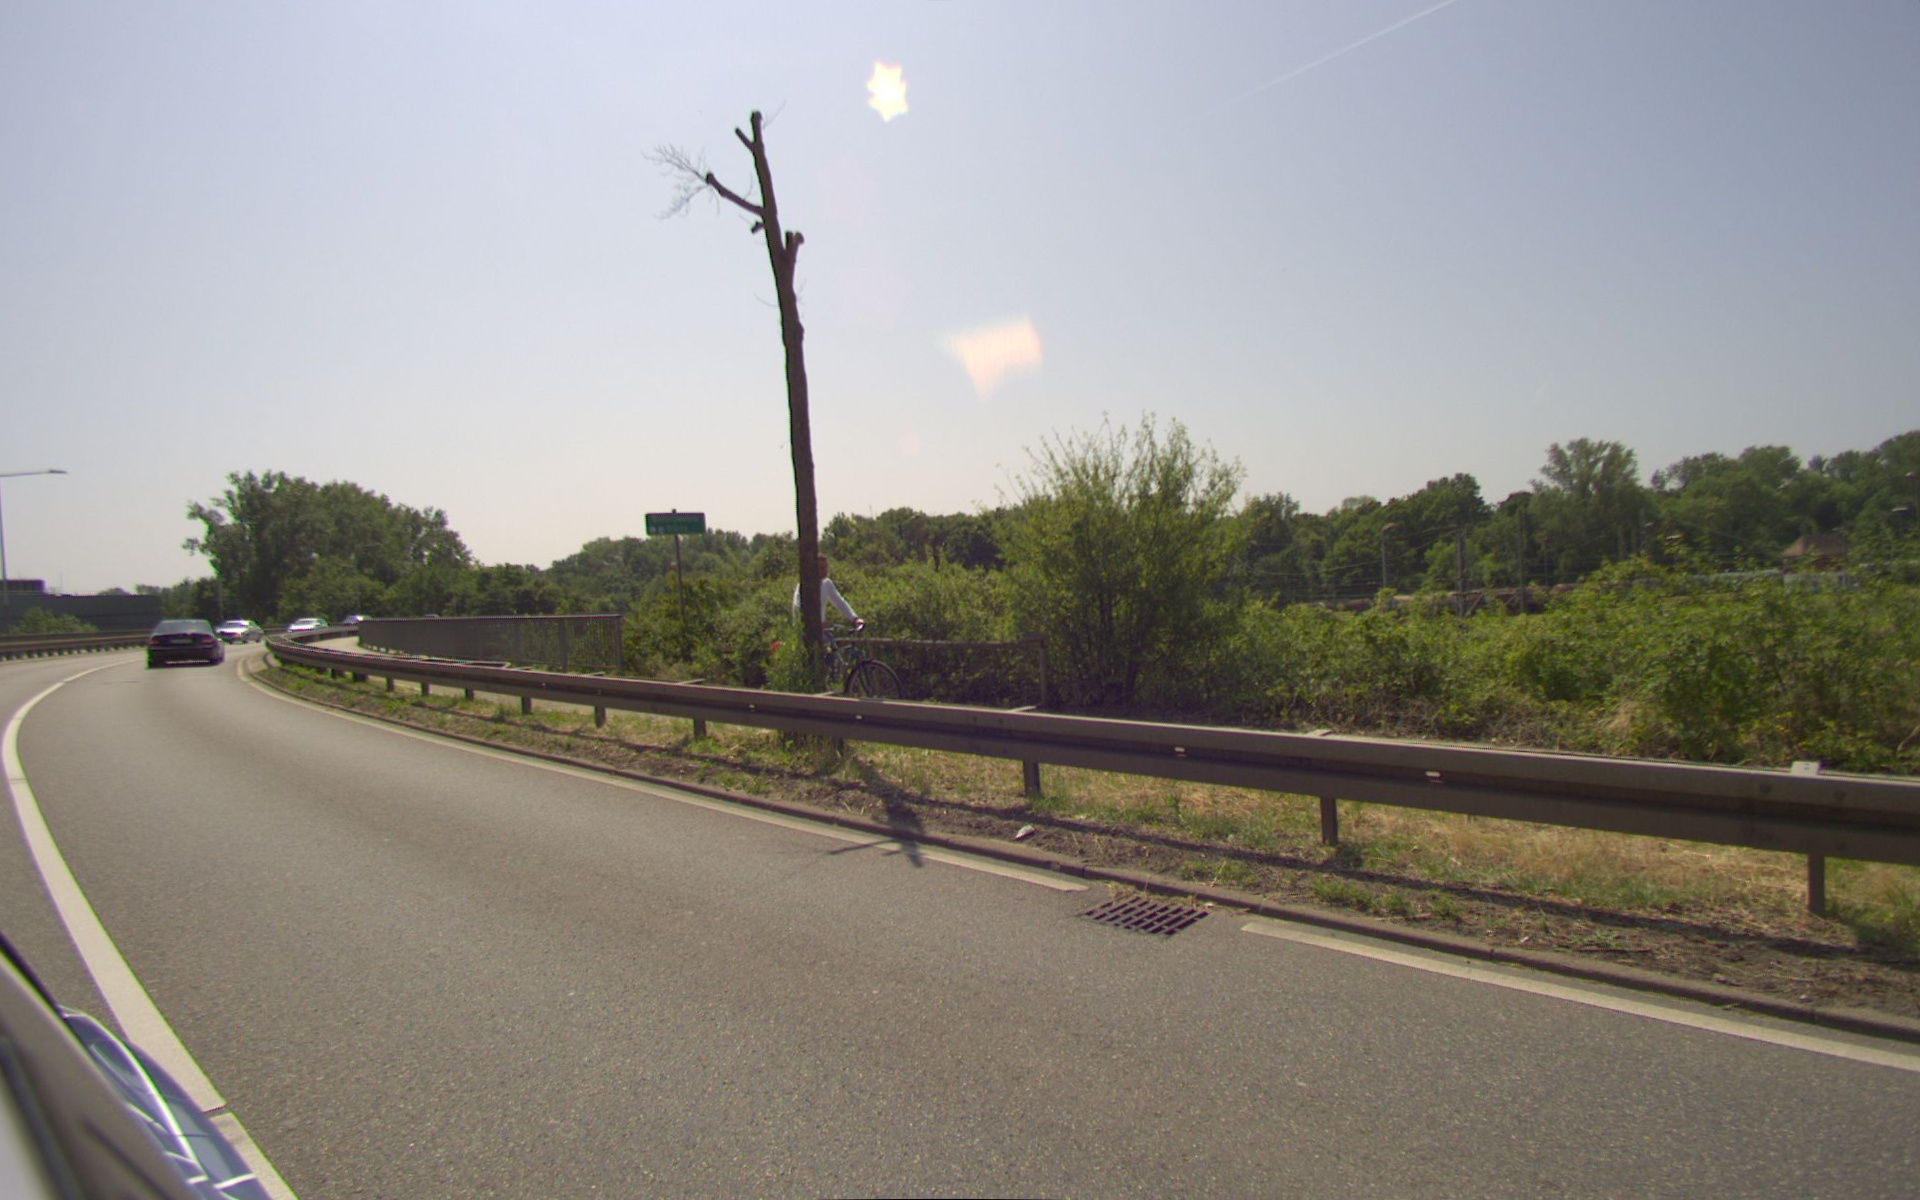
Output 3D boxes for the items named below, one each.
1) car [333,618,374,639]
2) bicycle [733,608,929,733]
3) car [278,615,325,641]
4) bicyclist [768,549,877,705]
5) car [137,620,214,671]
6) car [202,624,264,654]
[{"bbox_3d":[-45.713,2.131,76.302,1.778,1.427,4.371,-1,0,-19],"label":"car"},{"bbox_3d":[-1.316,0.665,10.073,2.044,1.125,0.727,-1,-2,39],"label":"bicycle"},{"bbox_3d":[-49.819,2.104,76.665,1.769,1.796,4.306,-1,0,-16],"label":"car"},{"bbox_3d":[-1.374,0.267,10.131,0.823,1.477,0.722,-1,-2,39],"label":"bicyclist"},{"bbox_3d":[-24.505,1.360,31.653,1.780,1.427,4.367,-1,0,-37],"label":"car"},{"bbox_3d":[-44.061,2.324,61.411,1.734,1.510,4.246,-1,1,-17],"label":"car"}]
